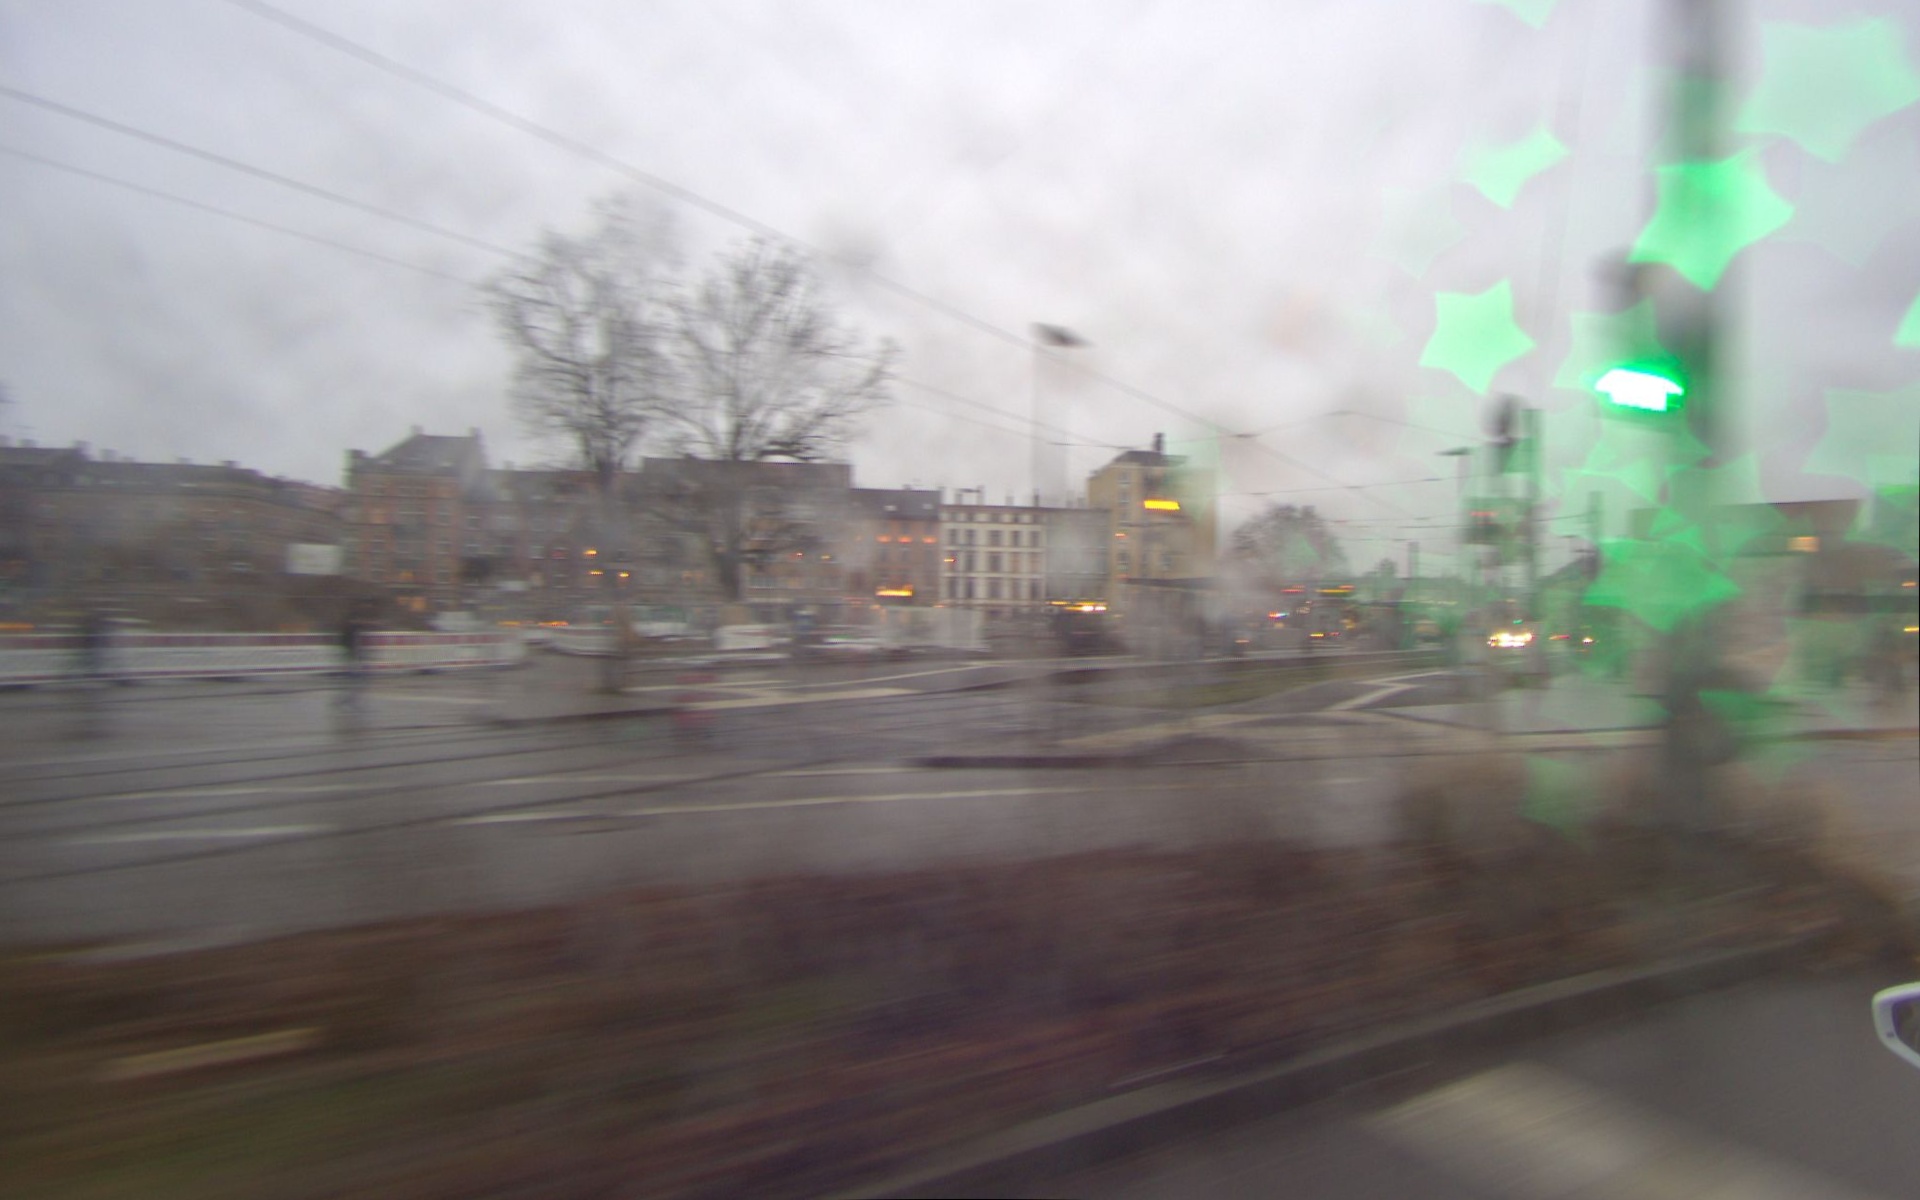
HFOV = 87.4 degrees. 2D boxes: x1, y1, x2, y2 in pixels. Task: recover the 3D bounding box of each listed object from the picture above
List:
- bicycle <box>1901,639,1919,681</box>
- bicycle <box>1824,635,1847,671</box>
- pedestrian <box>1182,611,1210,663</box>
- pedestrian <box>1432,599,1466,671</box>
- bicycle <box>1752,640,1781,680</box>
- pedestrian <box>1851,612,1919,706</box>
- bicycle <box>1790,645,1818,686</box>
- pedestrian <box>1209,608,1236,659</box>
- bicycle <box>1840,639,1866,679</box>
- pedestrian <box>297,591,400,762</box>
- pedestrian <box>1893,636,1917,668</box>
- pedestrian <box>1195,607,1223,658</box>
[{"bbox_3d":[28.306,1.769,29.759,0.542,1.180,1.889,3,0,42],"label":"bicycle"},{"bbox_3d":[30.529,1.852,35.021,0.542,1.180,1.889,3,0,42],"label":"bicycle"},{"bbox_3d":[8.371,1.311,35.598,0.703,1.780,0.714,2,-1,38],"label":"pedestrian"},{"bbox_3d":[12.815,0.905,26.301,0.595,1.837,0.823,3,0,36],"label":"pedestrian"},{"bbox_3d":[25.237,1.868,31.423,0.542,1.180,1.889,3,0,42],"label":"bicycle"},{"bbox_3d":[17.411,1.097,18.857,0.718,1.696,0.673,3,0,-15],"label":"pedestrian"},{"bbox_3d":[25.683,1.970,30.547,0.542,1.180,1.889,3,0,42],"label":"bicycle"},{"bbox_3d":[9.757,1.244,37.313,0.703,1.830,0.714,2,-1,38],"label":"pedestrian"},{"bbox_3d":[27.770,1.825,31.243,0.542,1.180,1.889,3,0,42],"label":"bicycle"},{"bbox_3d":[-8.978,1.104,14.809,1.049,2.402,0.991,3,0,-22],"label":"pedestrian"},{"bbox_3d":[51.825,2.846,55.105,0.780,1.719,0.462,3,0,5],"label":"pedestrian"},{"bbox_3d":[9.024,1.173,36.459,0.703,1.830,0.714,2,-1,38],"label":"pedestrian"}]
